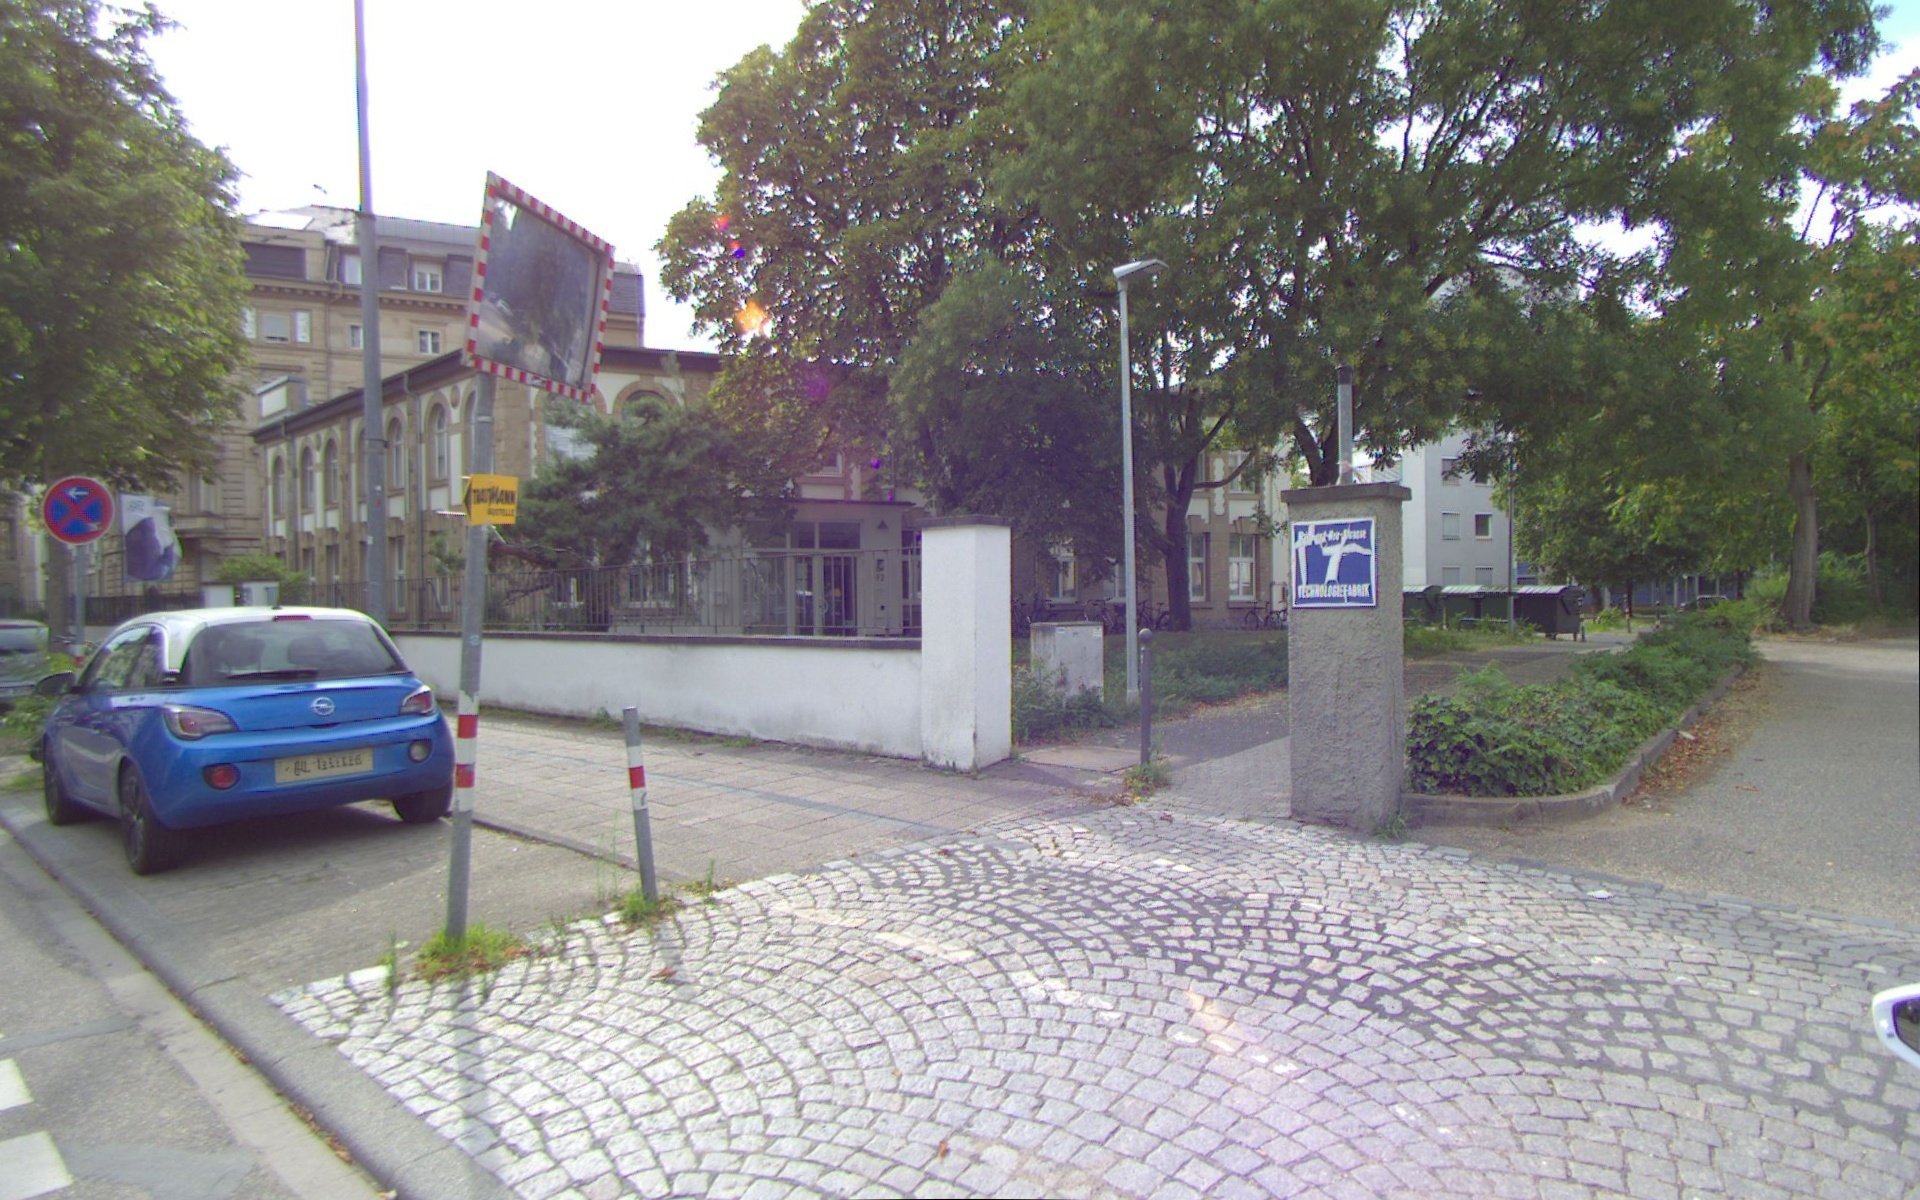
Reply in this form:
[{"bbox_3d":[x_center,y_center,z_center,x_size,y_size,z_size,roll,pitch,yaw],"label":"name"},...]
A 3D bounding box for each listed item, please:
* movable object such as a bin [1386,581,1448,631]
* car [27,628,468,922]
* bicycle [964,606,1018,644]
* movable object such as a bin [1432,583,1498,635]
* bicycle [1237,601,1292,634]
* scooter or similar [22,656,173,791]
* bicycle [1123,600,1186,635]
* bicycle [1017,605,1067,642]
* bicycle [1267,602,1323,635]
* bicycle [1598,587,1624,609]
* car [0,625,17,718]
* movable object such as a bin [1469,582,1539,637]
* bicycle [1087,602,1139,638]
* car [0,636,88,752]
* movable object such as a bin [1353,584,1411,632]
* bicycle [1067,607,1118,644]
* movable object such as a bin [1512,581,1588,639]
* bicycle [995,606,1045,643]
[{"bbox_3d":[13.786,0.163,30.321,1.106,1.449,1.277,-1,1,-23],"label":"movable object such as a bin"},{"bbox_3d":[-5.112,0.980,7.056,3.548,1.484,1.626,-2,0,39],"label":"car"},{"bbox_3d":[0.885,0.725,29.430,0.588,1.057,1.961,-2,1,-32],"label":"bicycle"},{"bbox_3d":[14.523,0.252,28.893,1.106,1.449,1.277,-1,1,-23],"label":"movable object such as a bin"},{"bbox_3d":[10.070,0.572,33.281,0.586,1.057,1.966,-2,1,-25],"label":"bicycle"},{"bbox_3d":[-8.478,1.190,9.905,0.992,1.183,0.367,-4,2,-27],"label":"scooter or similar"},{"bbox_3d":[6.188,0.554,32.030,1.949,1.057,0.591,-1,1,42],"label":"bicycle"},{"bbox_3d":[2.437,0.683,30.068,0.586,1.057,1.966,-2,1,-25],"label":"bicycle"},{"bbox_3d":[11.270,0.613,33.887,0.586,1.057,1.966,-2,1,-25],"label":"bicycle"},{"bbox_3d":[37.671,-0.109,58.158,1.882,1.197,0.645,-1,1,-37],"label":"bicycle"},{"bbox_3d":[-18.941,1.338,18.621,3.669,1.655,1.652,-2,0,39],"label":"car"},{"bbox_3d":[14.926,0.255,27.591,1.106,1.449,1.277,-1,1,-23],"label":"movable object such as a bin"},{"bbox_3d":[4.697,0.593,30.999,0.586,1.057,1.966,-2,1,-25],"label":"bicycle"},{"bbox_3d":[-13.988,1.296,14.423,3.520,1.484,1.626,-2,0,39],"label":"car"},{"bbox_3d":[13.251,0.254,31.595,1.106,1.449,1.277,-1,1,-23],"label":"movable object such as a bin"},{"bbox_3d":[4.018,0.759,30.632,0.586,1.057,1.966,-2,1,-25],"label":"bicycle"},{"bbox_3d":[15.308,0.251,26.084,1.106,1.449,1.277,-1,1,-23],"label":"movable object such as a bin"},{"bbox_3d":[1.753,0.704,29.705,0.586,1.057,1.966,-2,1,-25],"label":"bicycle"}]
